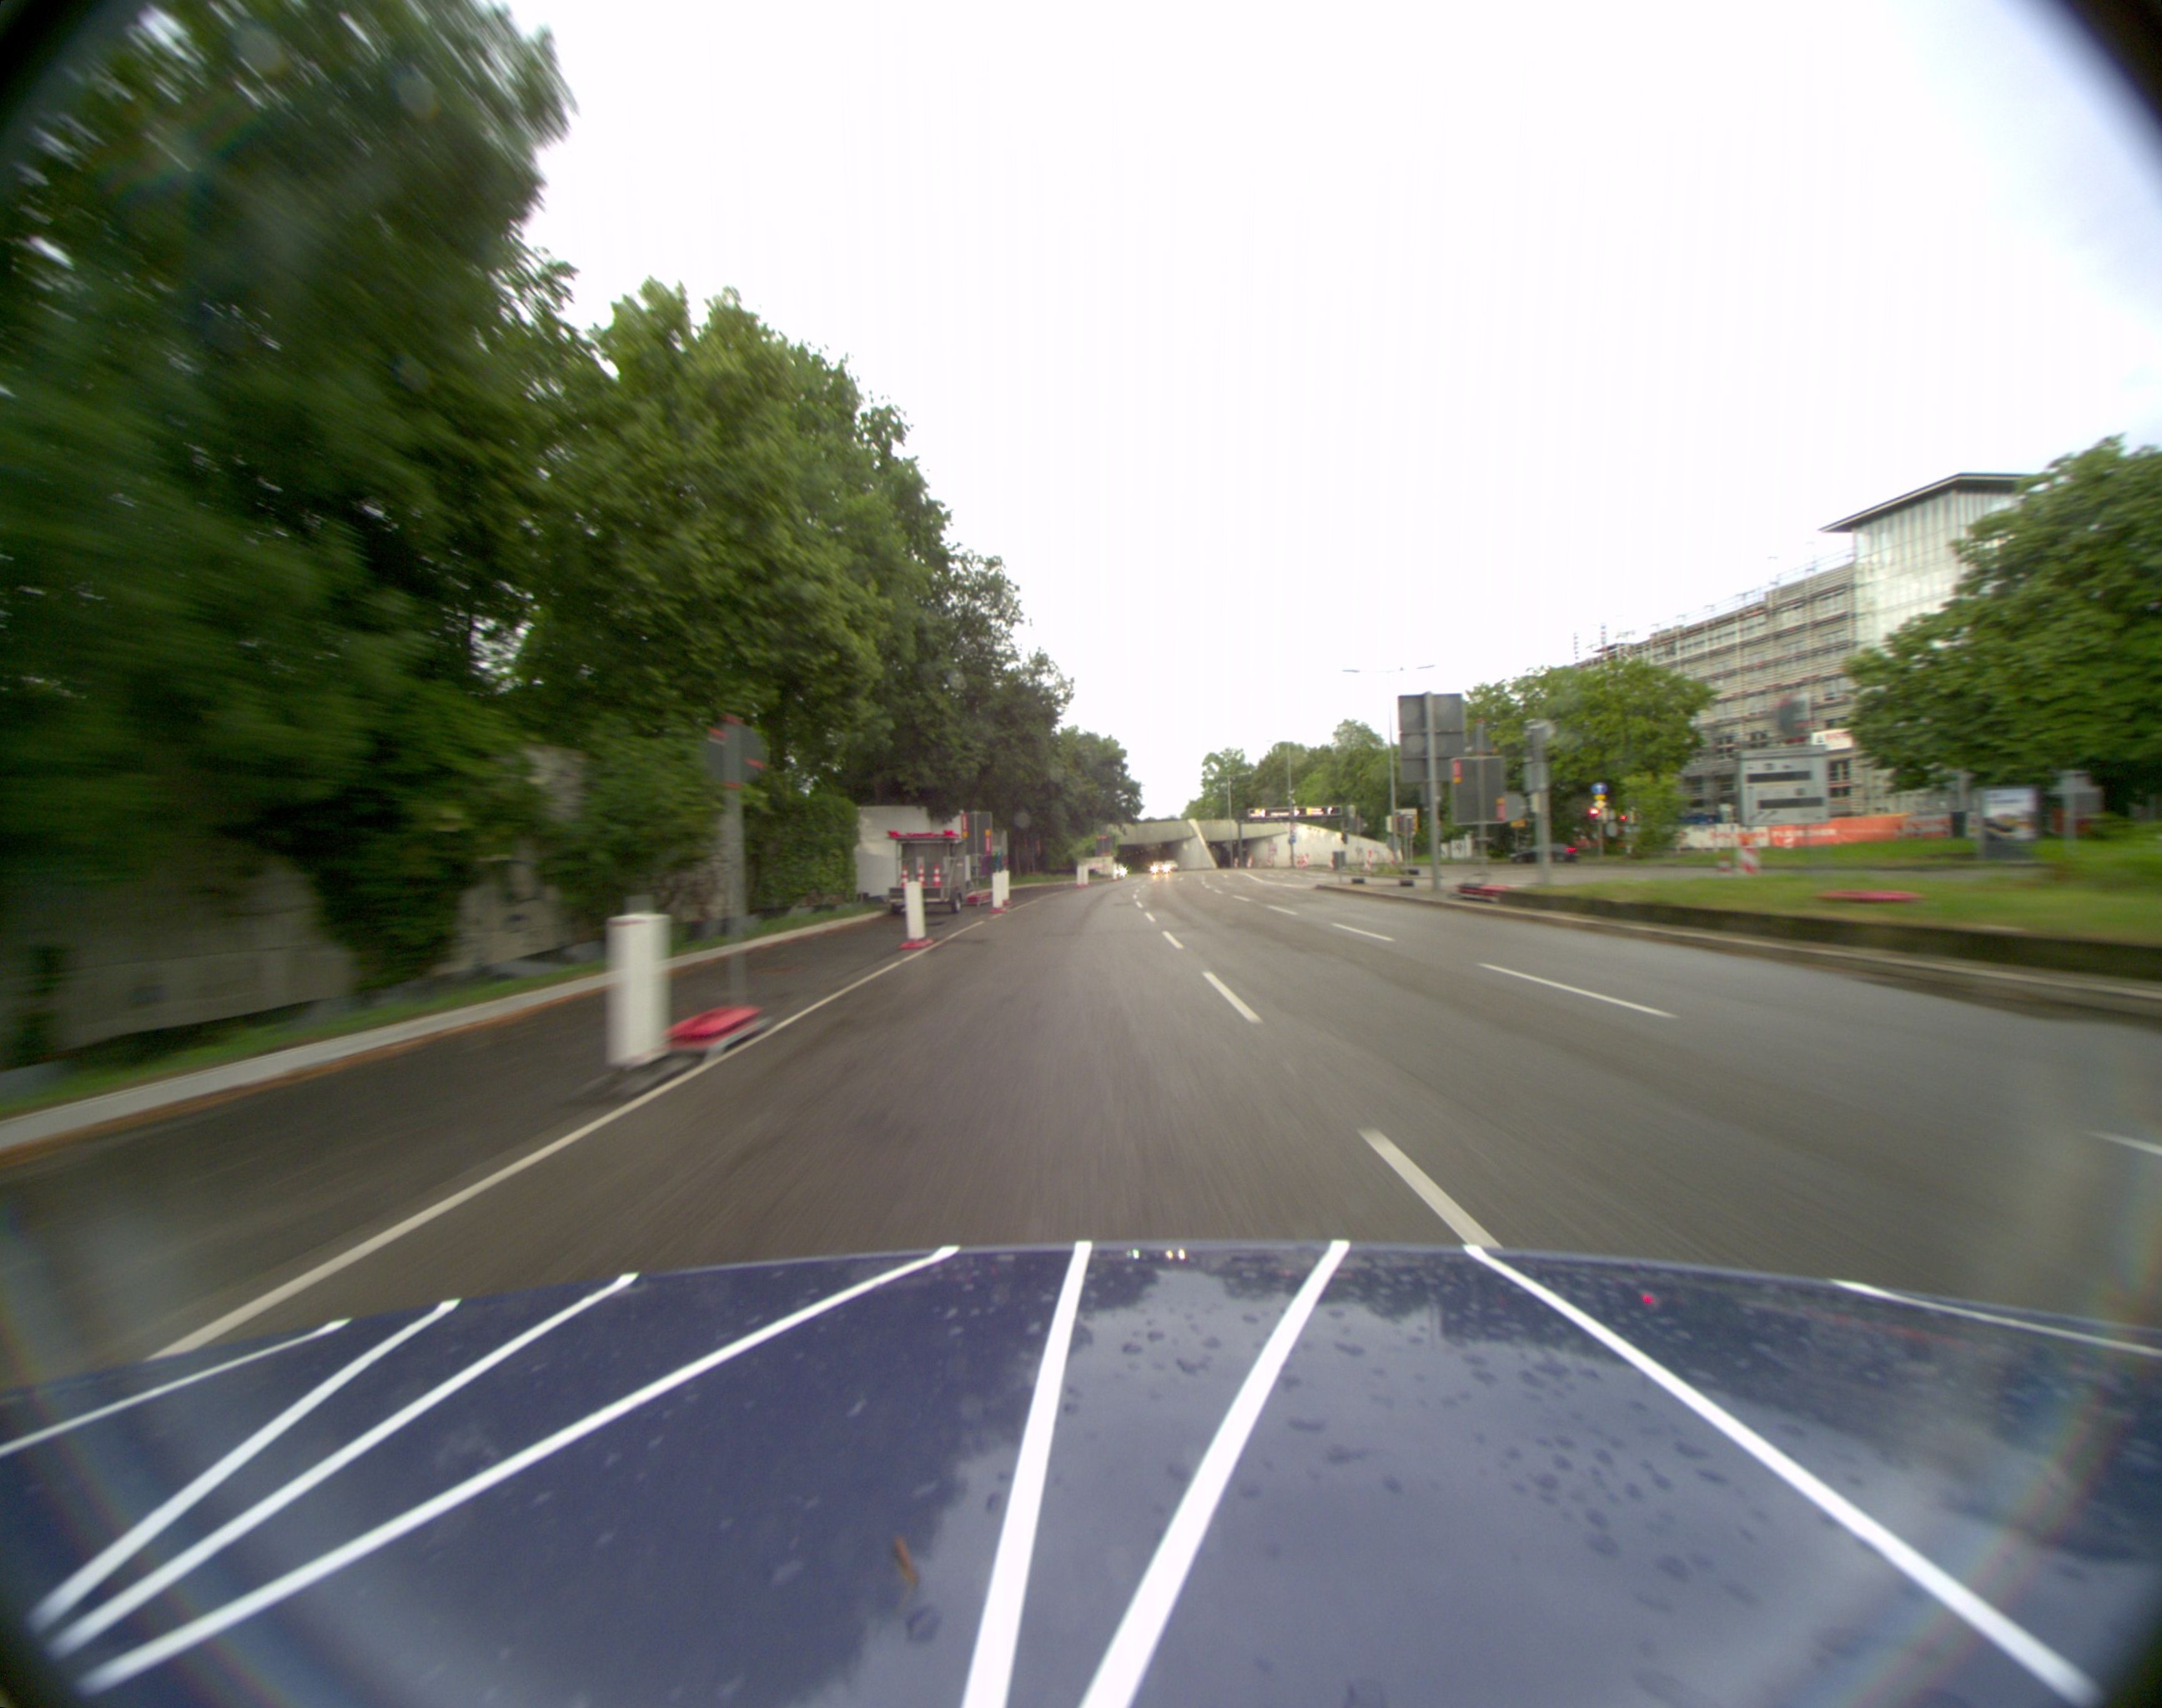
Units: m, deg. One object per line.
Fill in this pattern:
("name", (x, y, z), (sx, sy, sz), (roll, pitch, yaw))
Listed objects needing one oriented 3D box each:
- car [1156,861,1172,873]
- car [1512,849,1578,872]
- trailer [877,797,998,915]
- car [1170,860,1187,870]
("car", (10.037, 1.579, 91.946), (1.697, 1.393, 3.826), (-2, 0, 2))
("car", (31.629, 0.438, 51.815), (3.707, 1.282, 1.473), (-4, -1, 36))
("trailer", (-4.745, 0.081, 26.263), (2.312, 3.568, 5.963), (-1, 0, 7))
("car", (13.709, 1.506, 106.918), (1.698, 1.300, 3.824), (-2, 0, -2))
